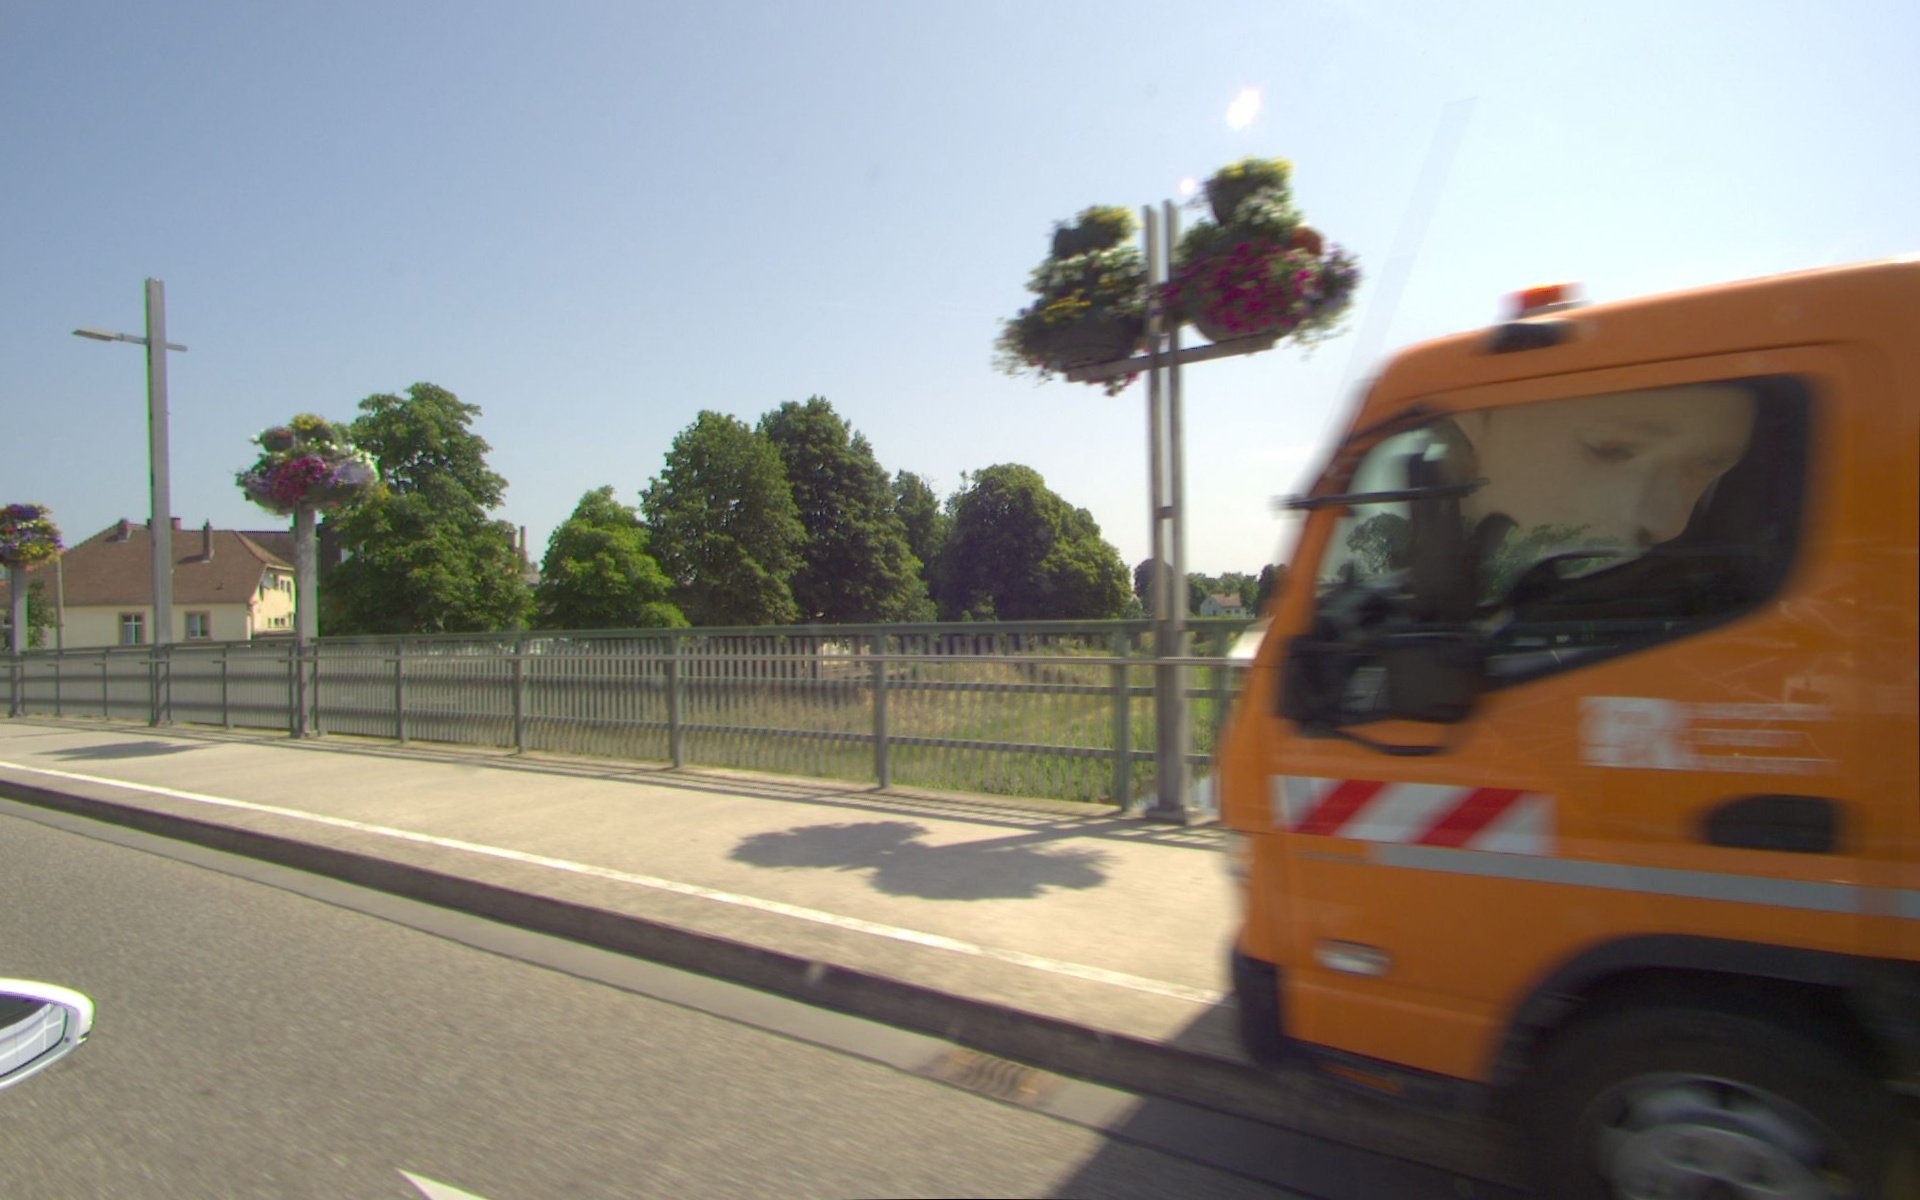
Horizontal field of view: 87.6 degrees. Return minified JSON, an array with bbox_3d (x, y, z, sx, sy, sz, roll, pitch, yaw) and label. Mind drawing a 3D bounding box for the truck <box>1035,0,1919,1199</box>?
[{"bbox_3d":[3.306,0.094,1.721,5.743,2.728,2.597,-1,3,34],"label":"truck"}]
